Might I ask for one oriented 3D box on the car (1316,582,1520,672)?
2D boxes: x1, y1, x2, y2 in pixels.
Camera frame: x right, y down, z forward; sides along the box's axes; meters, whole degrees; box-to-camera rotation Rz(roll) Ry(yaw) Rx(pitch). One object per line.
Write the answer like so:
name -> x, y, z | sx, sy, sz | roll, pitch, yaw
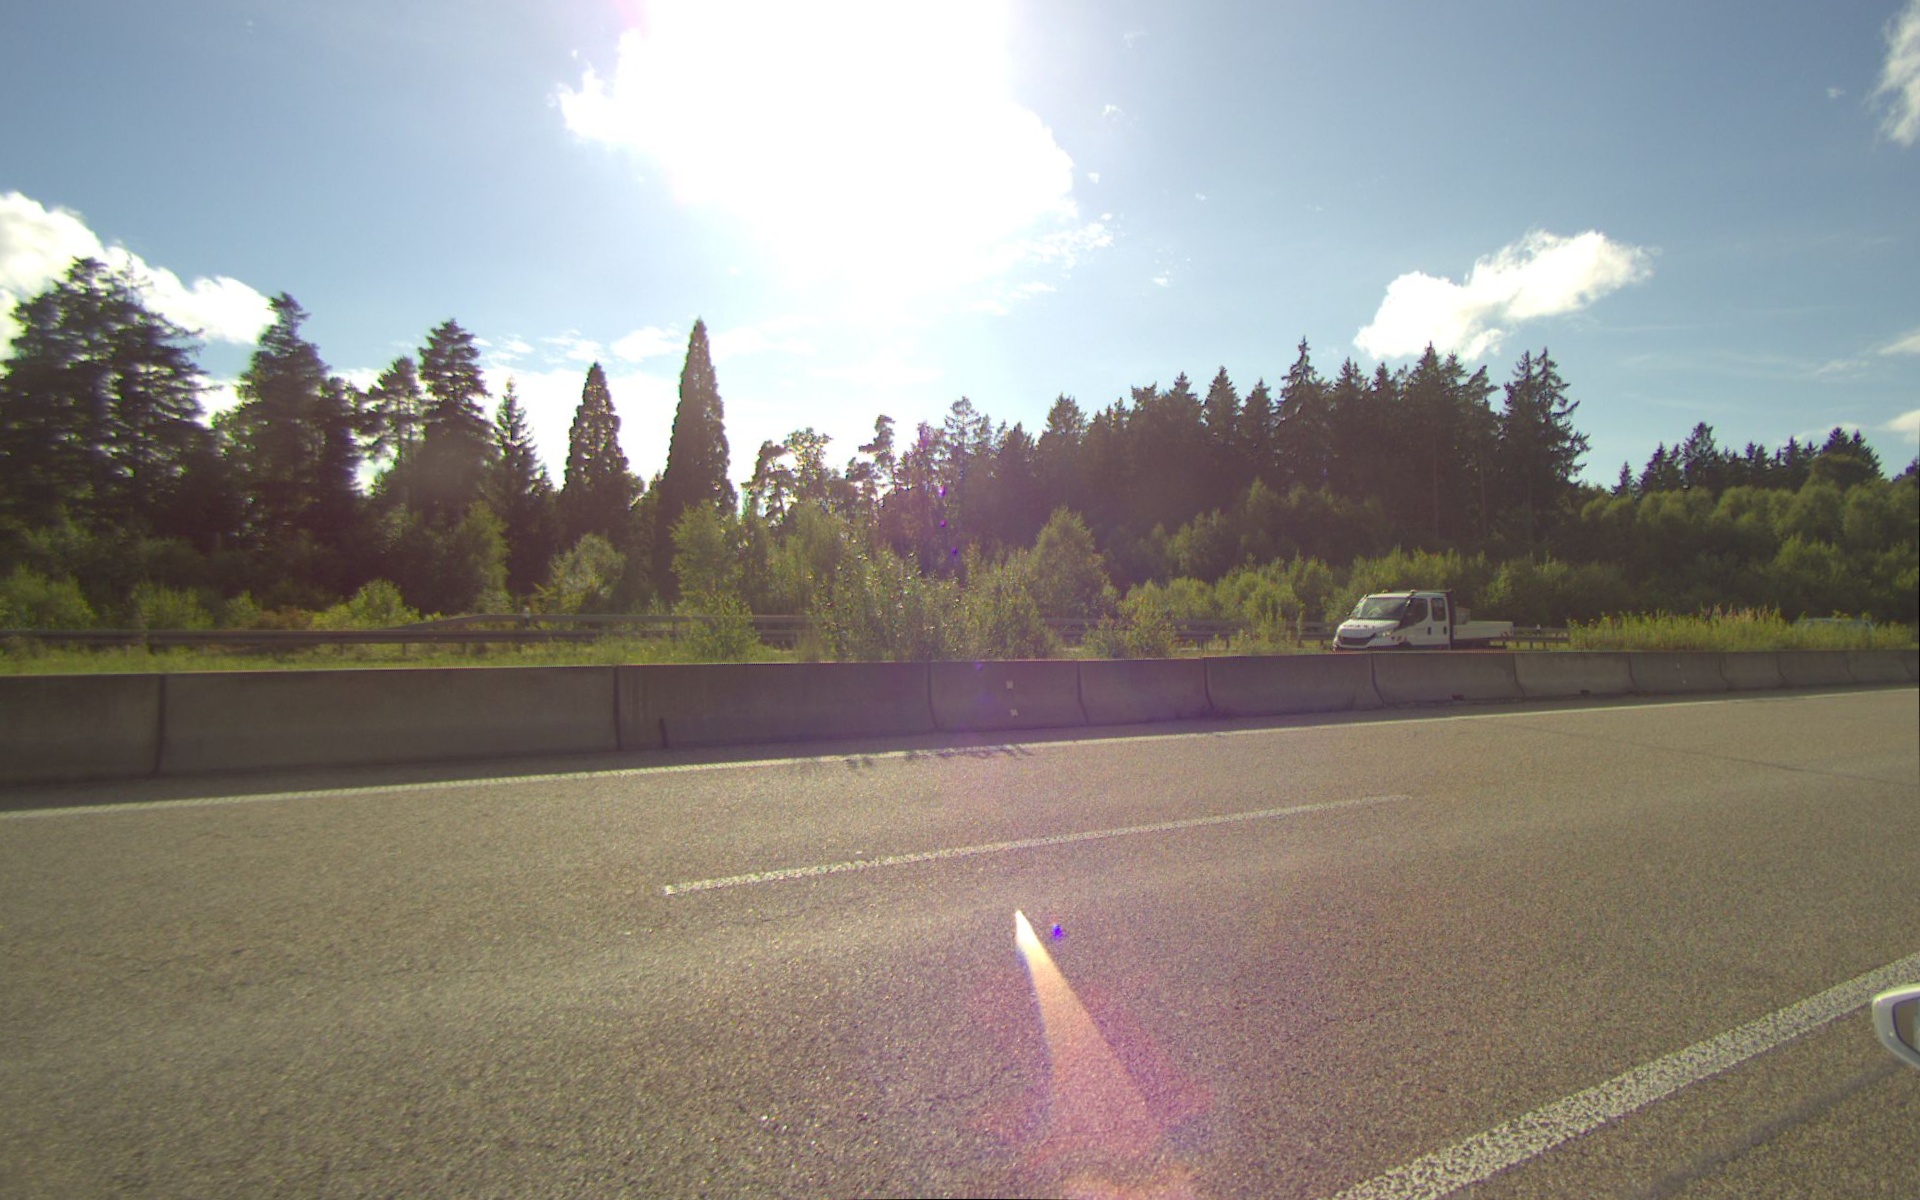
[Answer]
car -> 13.653, 0.787, 29.859 | 6.119, 2.349, 2.299 | 1, 3, -30
